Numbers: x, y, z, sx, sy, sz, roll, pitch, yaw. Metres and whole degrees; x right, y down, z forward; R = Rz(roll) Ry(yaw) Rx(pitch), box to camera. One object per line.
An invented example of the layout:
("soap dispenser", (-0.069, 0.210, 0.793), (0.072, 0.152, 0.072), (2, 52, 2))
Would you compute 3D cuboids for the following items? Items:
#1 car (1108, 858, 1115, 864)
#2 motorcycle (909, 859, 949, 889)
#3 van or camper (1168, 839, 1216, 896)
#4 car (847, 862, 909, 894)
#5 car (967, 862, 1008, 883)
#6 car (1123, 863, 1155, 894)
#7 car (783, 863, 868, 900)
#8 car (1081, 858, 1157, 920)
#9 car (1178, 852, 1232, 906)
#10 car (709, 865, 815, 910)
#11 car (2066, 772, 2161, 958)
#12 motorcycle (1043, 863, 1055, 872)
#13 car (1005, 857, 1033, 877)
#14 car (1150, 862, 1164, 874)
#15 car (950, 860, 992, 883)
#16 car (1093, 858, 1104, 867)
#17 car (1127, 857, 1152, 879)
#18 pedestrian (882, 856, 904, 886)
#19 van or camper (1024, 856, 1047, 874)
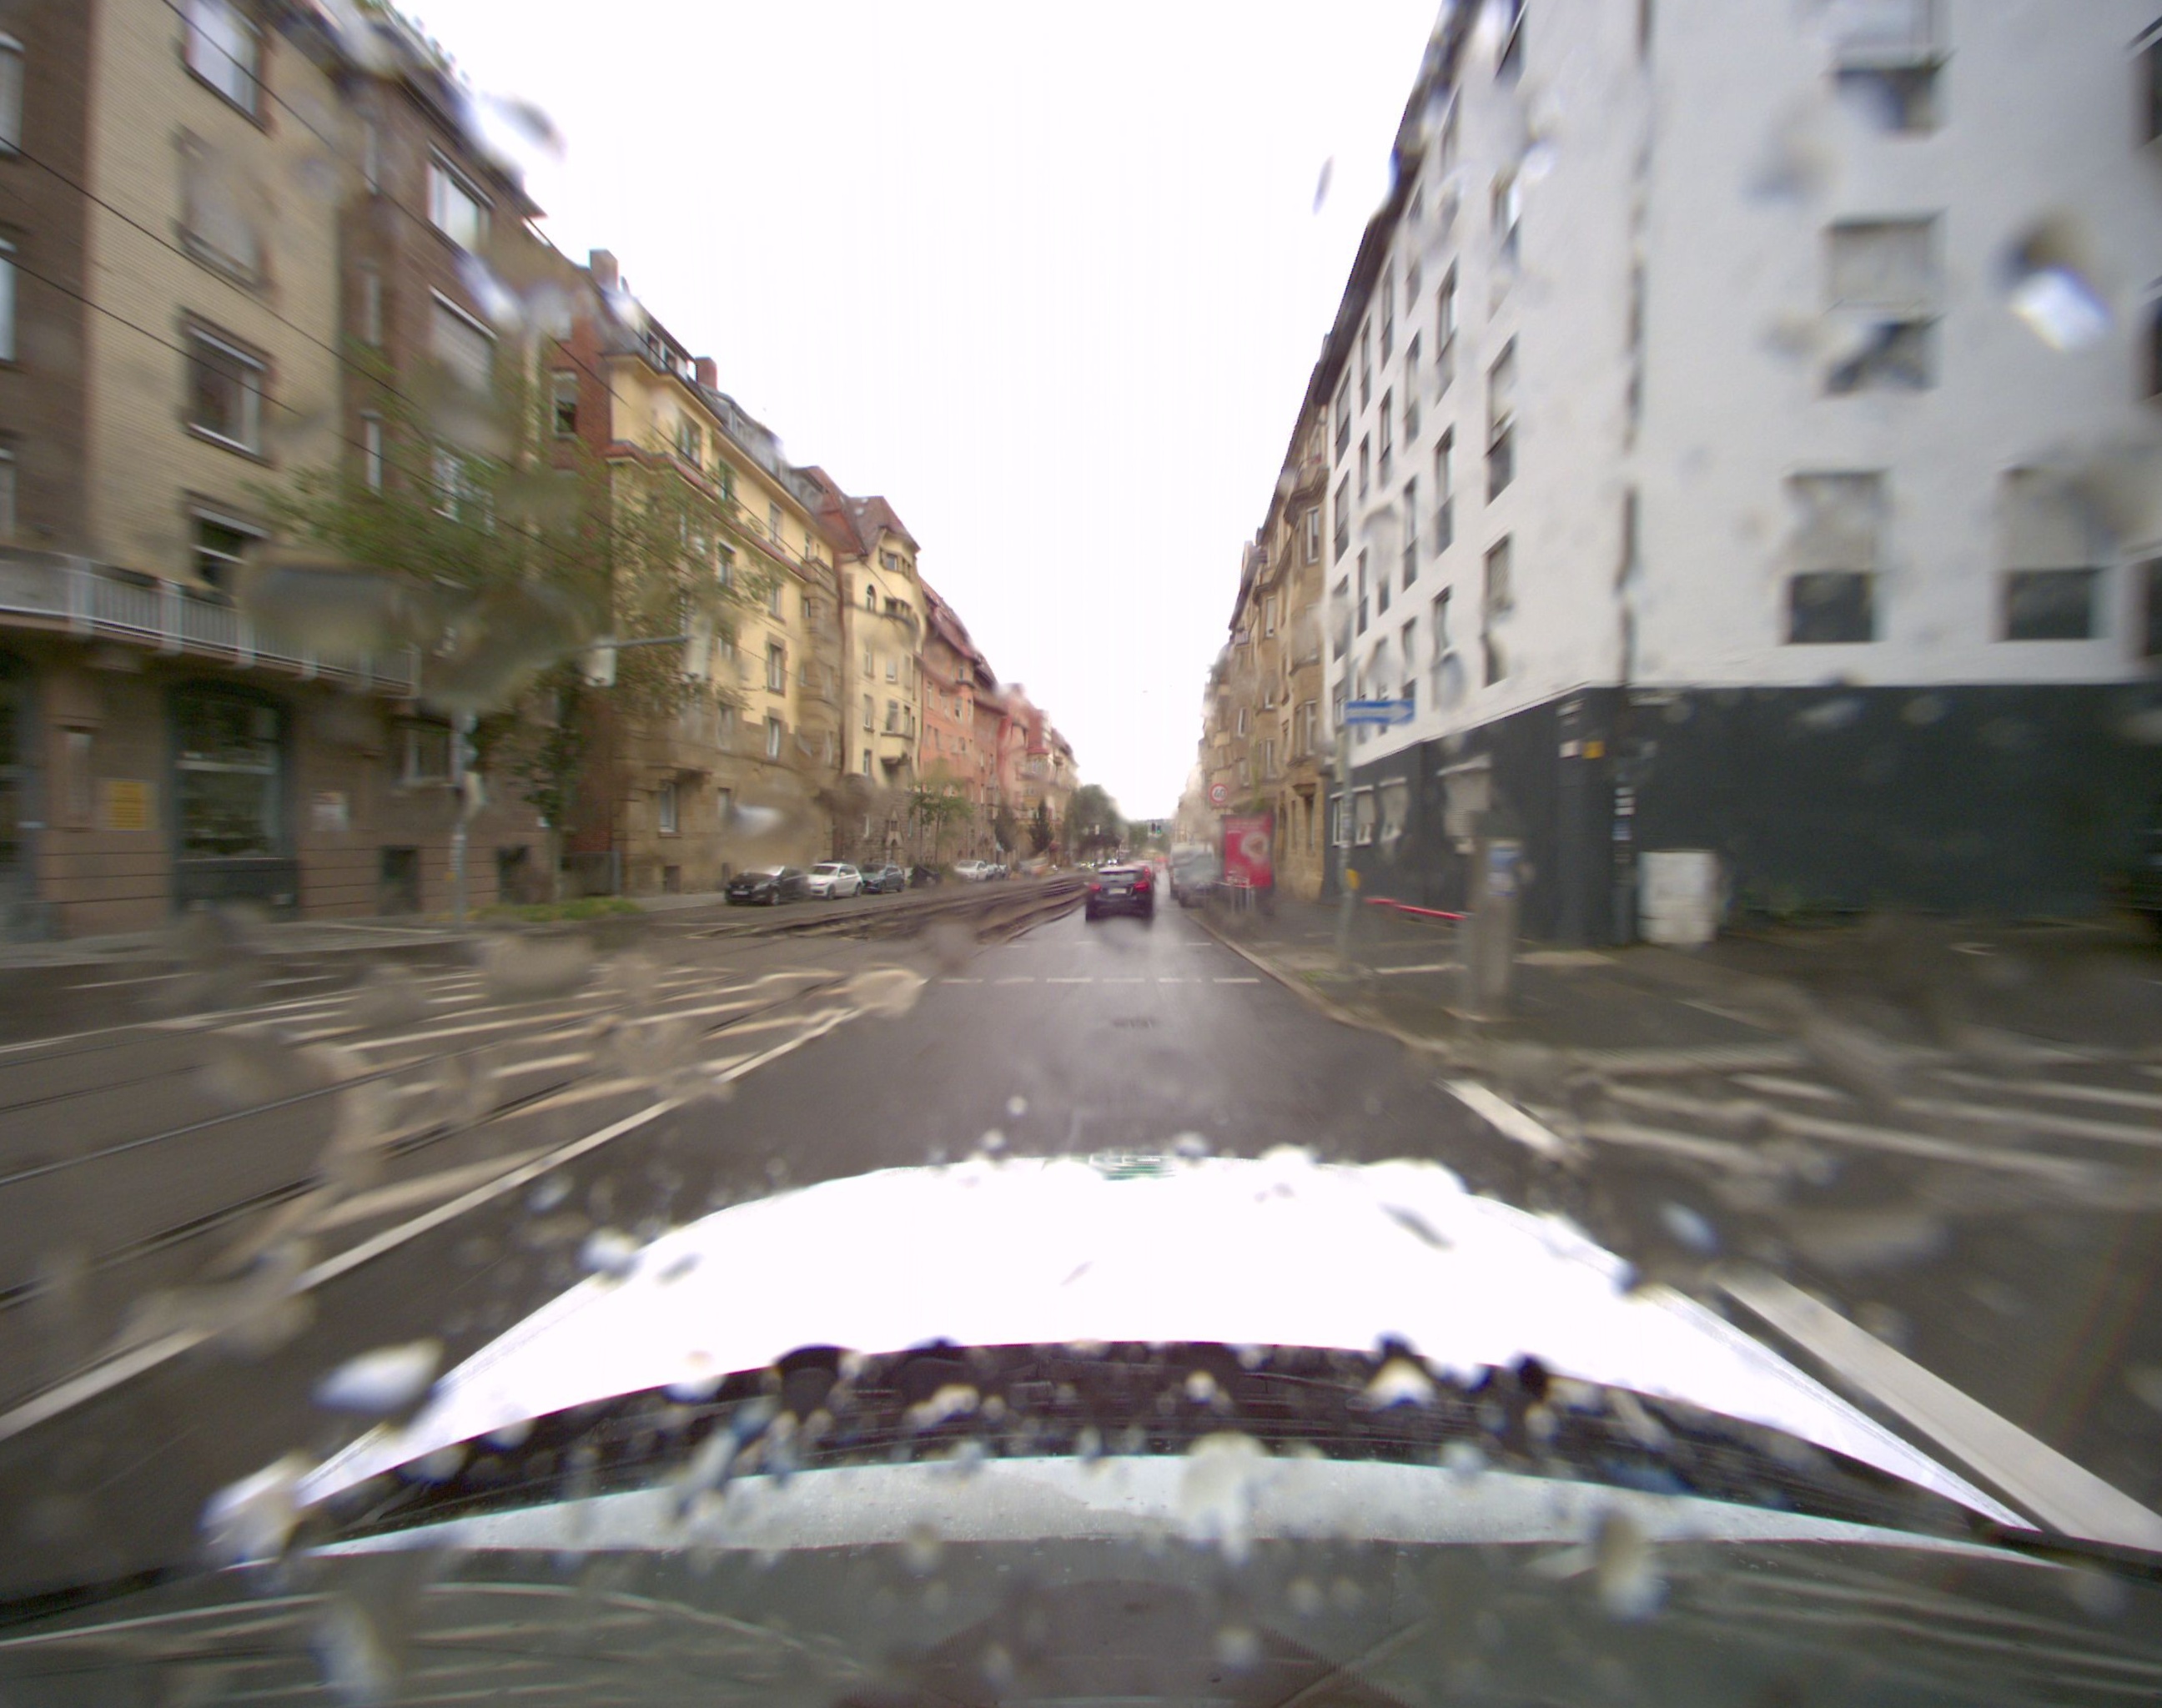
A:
("car", (8.044, 1.833, 214.202), (1.788, 1.548, 4.002), (0, -1, 2))
("motorcycle", (-8.904, 1.153, 47.680), (2.260, 1.642, 1.288), (-2, -1, -12))
("van or camper", (5.141, 0.627, 38.450), (2.054, 2.469, 6.128), (0, -1, 6))
("car", (-9.798, 1.110, 39.611), (1.553, 1.438, 4.152), (-1, 0, 6))
("car", (-7.292, 1.396, 63.957), (1.982, 1.509, 4.985), (2, 0, 8))
("car", (3.075, 1.227, 42.537), (1.528, 1.510, 4.007), (1, -1, 6))
("car", (-10.401, 1.069, 33.483), (1.658, 1.426, 4.271), (0, -1, 7))
("car", (1.126, 0.929, 22.609), (1.937, 1.565, 3.647), (-1, -1, 5))
("car", (4.484, 0.877, 29.966), (1.760, 1.808, 4.489), (1, -1, 6))
("car", (-11.049, 1.131, 28.502), (1.756, 1.486, 4.007), (0, -1, 7))
("car", (11.781, 0.039, 7.114), (3.965, 1.690, 1.743), (-2, 2, 7))
("motorcycle", (-3.884, 1.665, 98.926), (1.422, 1.134, 0.624), (0, -1, 35))
("car", (-6.134, 1.292, 81.033), (1.984, 1.901, 4.705), (0, -1, 5))
("car", (10.869, 2.036, 116.438), (1.893, 1.593, 4.006), (-1, -2, 6))
("car", (-7.816, 1.220, 58.101), (1.774, 1.589, 4.361), (-2, -1, 8))
("car", (3.644, 1.793, 170.438), (1.983, 1.794, 4.007), (1, 0, 6))
("car", (4.667, 1.104, 65.306), (1.914, 1.655, 4.003), (-1, 0, 2))
("pedestrian", (-11.366, 1.004, 49.251), (1.002, 1.753, 0.926), (1, -1, 6))
("van or camper", (-4.915, 1.213, 88.399), (1.985, 1.901, 4.704), (0, 0, 4))
